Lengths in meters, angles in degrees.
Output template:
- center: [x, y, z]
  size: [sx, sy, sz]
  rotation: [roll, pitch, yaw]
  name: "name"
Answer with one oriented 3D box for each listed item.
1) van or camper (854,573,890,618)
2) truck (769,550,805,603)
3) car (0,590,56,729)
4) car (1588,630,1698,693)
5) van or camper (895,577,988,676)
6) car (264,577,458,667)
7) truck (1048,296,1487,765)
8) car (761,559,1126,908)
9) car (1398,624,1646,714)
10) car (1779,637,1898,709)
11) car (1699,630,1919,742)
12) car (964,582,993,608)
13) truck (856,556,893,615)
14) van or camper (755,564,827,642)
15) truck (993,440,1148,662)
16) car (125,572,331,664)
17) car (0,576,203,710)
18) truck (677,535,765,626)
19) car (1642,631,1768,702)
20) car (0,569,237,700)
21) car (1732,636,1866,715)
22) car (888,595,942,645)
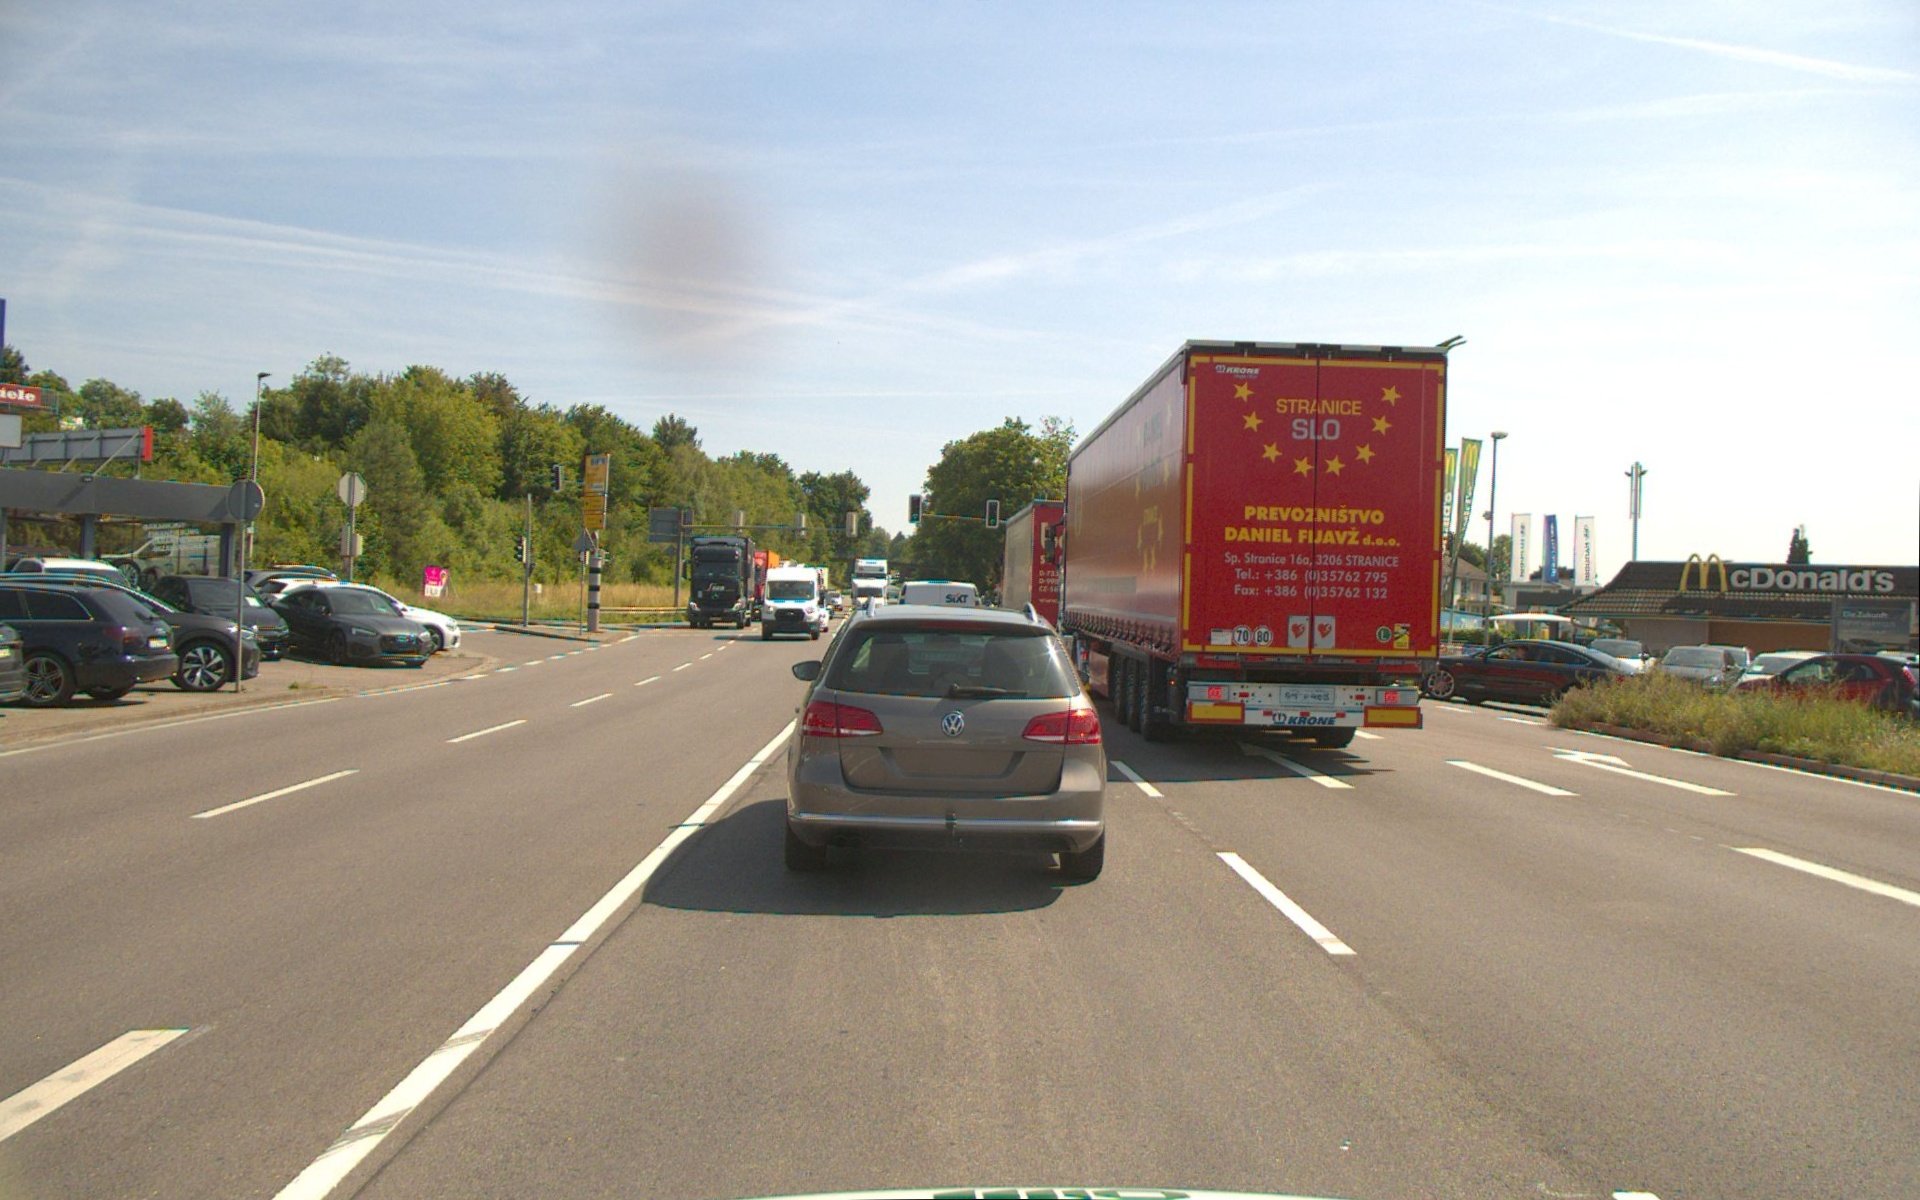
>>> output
- center: [-5.855, -0.258, 110.885]
  size: [2.179, 2.890, 5.709]
  rotation: [1, -1, -1]
  name: "van or camper"
- center: [-12.838, -1.735, 123.347]
  size: [2.483, 3.852, 6.983]
  rotation: [0, 0, -5]
  name: "truck"
- center: [-12.011, 0.609, 17.606]
  size: [3.739, 1.473, 1.842]
  rotation: [1, 0, -2]
  name: "car"
- center: [18.517, 1.637, 44.789]
  size: [1.734, 1.558, 3.245]
  rotation: [2, 0, 42]
  name: "car"
- center: [-0.418, 0.522, 34.997]
  size: [1.815, 1.939, 3.783]
  rotation: [1, 0, -2]
  name: "van or camper"
- center: [-12.366, 0.415, 34.005]
  size: [2.116, 1.723, 4.454]
  rotation: [1, 0, -44]
  name: "car"
- center: [3.341, -0.670, 23.882]
  size: [2.897, 4.344, 16.580]
  rotation: [1, 0, -1]
  name: "truck"
- center: [-0.014, 0.647, 9.726]
  size: [1.753, 1.667, 3.504]
  rotation: [0, 0, 2]
  name: "car"
- center: [10.771, 1.279, 31.846]
  size: [4.125, 1.480, 1.836]
  rotation: [2, 0, 42]
  name: "car"
- center: [20.799, 1.694, 39.108]
  size: [1.657, 1.558, 3.574]
  rotation: [2, 0, 42]
  name: "car"
- center: [14.365, 1.336, 26.827]
  size: [1.972, 1.558, 3.961]
  rotation: [2, 0, -29]
  name: "car"
- center: [1.196, -0.298, 105.654]
  size: [1.692, 1.545, 3.311]
  rotation: [2, -1, -2]
  name: "car"
- center: [-6.464, -1.071, 125.695]
  size: [2.501, 4.383, 7.594]
  rotation: [0, 0, -1]
  name: "truck"
- center: [-5.897, 0.095, 58.223]
  size: [2.129, 2.596, 4.169]
  rotation: [1, 0, -2]
  name: "van or camper"
- center: [2.863, -1.212, 48.620]
  size: [3.000, 5.312, 17.003]
  rotation: [1, 0, -1]
  name: "truck"
- center: [-14.515, 0.330, 32.795]
  size: [3.744, 1.723, 1.840]
  rotation: [1, 0, 28]
  name: "car"
- center: [-11.682, 0.501, 20.498]
  size: [3.739, 1.566, 1.842]
  rotation: [1, 0, -2]
  name: "car"
- center: [-10.613, -0.843, 73.996]
  size: [2.754, 3.852, 6.991]
  rotation: [0, 0, 1]
  name: "truck"
- center: [18.037, 1.573, 39.984]
  size: [1.738, 1.558, 3.607]
  rotation: [2, 0, 42]
  name: "car"
- center: [-12.168, 0.443, 22.595]
  size: [3.739, 1.704, 1.842]
  rotation: [1, 0, -2]
  name: "car"
- center: [18.057, 1.582, 35.532]
  size: [1.657, 1.558, 3.574]
  rotation: [2, 0, 42]
  name: "car"
- center: [-1.444, 0.657, 54.045]
  size: [1.692, 1.545, 3.311]
  rotation: [1, -1, -1]
  name: "car"
